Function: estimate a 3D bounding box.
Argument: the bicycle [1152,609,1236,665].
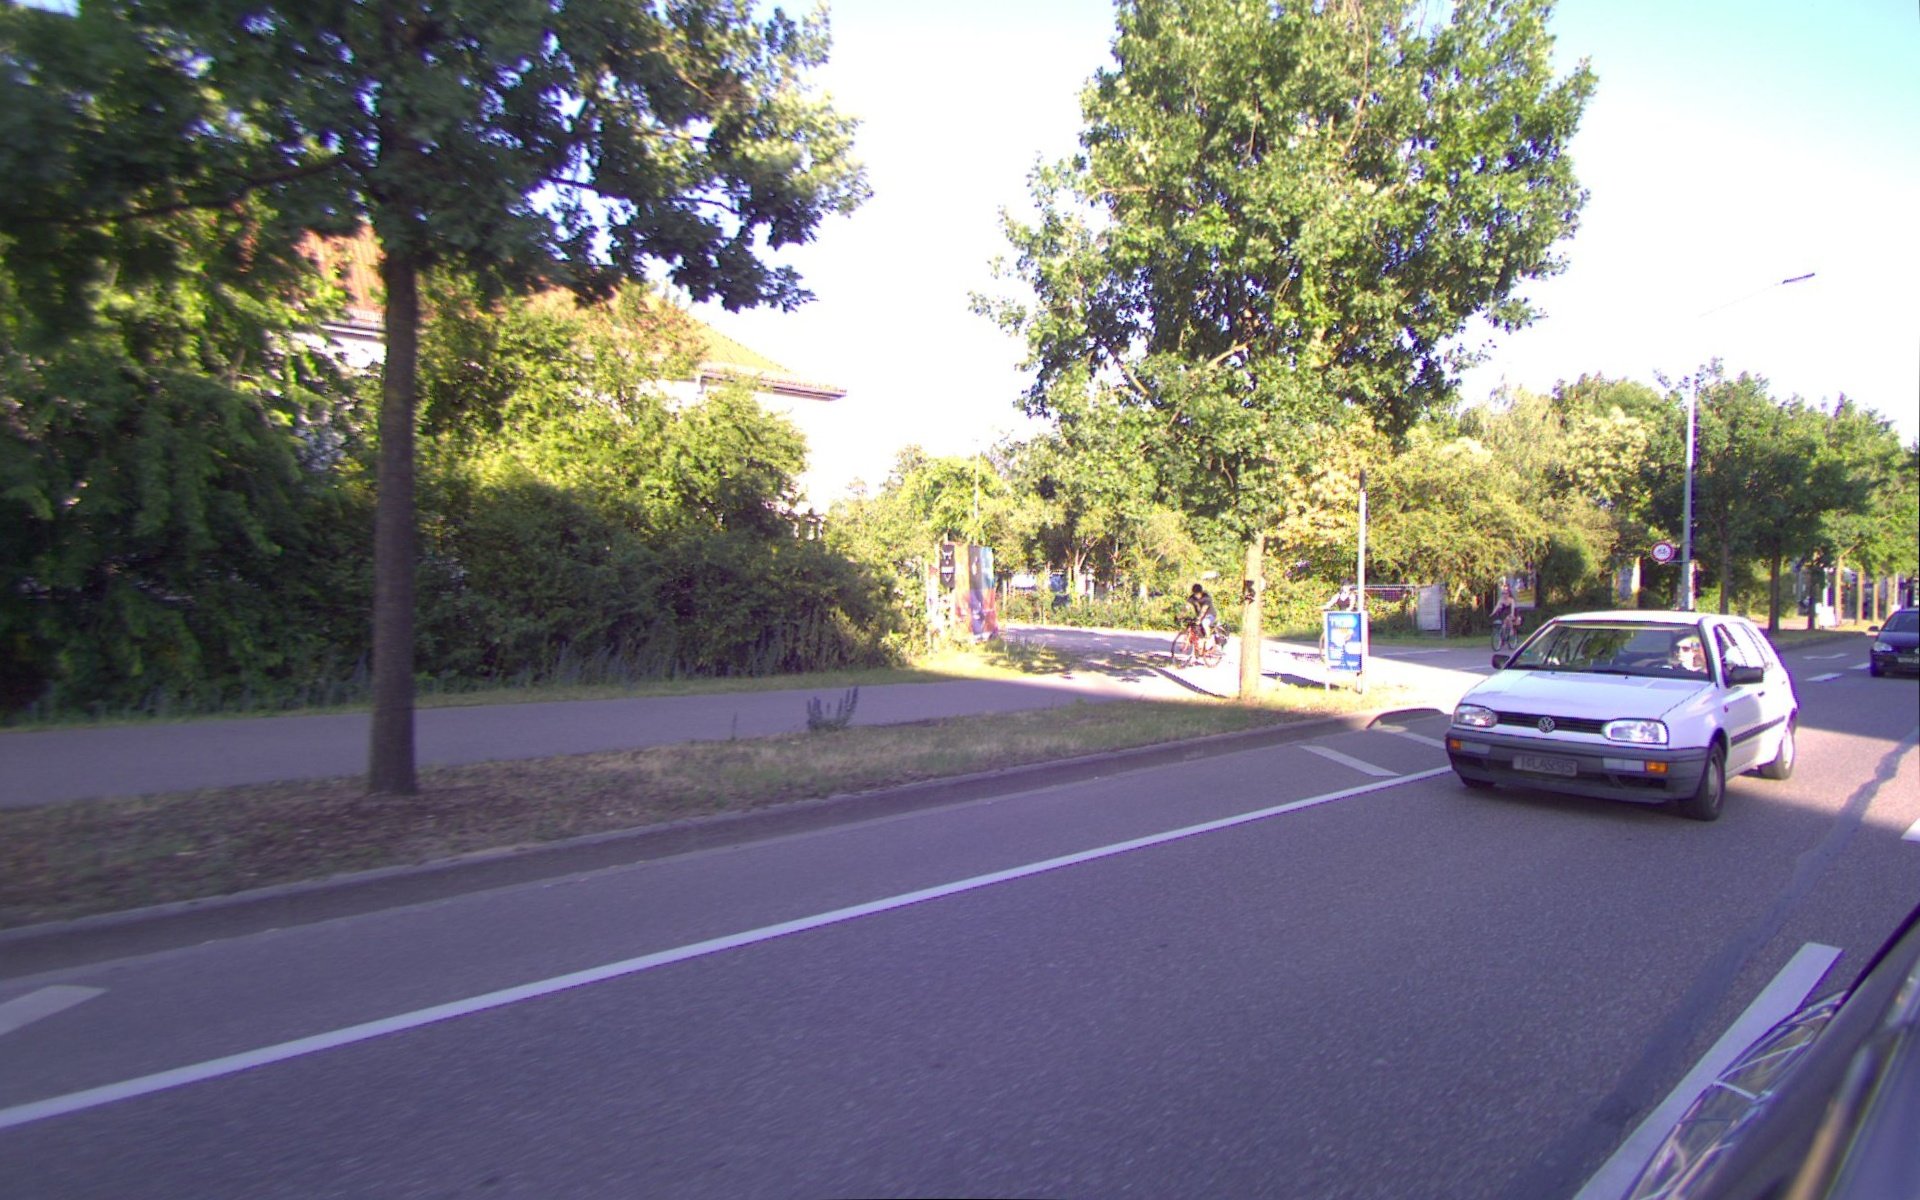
[{"bbox_3d":[4.443,0.677,19.148,1.790,0.986,0.618,0,1,-41],"label":"bicycle"}]

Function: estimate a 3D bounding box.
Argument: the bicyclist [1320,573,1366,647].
[{"bbox_3d":[8.485,0.216,22.407,0.833,1.598,0.604,0,1,-41],"label":"bicyclist"}]

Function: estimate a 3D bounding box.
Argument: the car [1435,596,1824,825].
[{"bbox_3d":[5.583,0.697,8.248,3.967,1.416,1.614,0,0,-40],"label":"car"}]

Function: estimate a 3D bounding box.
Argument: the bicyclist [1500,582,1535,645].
[{"bbox_3d":[16.044,0.379,29.133,0.833,1.755,0.604,0,1,-41],"label":"bicyclist"}]

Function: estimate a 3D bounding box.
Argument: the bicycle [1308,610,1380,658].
[{"bbox_3d":[8.538,0.740,22.465,2.023,0.986,0.618,0,1,-41],"label":"bicycle"}]

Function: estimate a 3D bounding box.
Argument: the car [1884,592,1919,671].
[{"bbox_3d":[20.750,0.618,21.251,4.144,1.518,1.723,-1,1,-44],"label":"car"}]

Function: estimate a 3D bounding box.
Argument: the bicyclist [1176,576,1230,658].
[{"bbox_3d":[4.634,0.305,19.302,0.833,1.520,0.614,0,1,-41],"label":"bicyclist"}]

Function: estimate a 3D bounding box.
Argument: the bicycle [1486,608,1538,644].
[{"bbox_3d":[15.773,0.727,28.902,2.023,0.986,0.618,0,1,-41],"label":"bicycle"}]
